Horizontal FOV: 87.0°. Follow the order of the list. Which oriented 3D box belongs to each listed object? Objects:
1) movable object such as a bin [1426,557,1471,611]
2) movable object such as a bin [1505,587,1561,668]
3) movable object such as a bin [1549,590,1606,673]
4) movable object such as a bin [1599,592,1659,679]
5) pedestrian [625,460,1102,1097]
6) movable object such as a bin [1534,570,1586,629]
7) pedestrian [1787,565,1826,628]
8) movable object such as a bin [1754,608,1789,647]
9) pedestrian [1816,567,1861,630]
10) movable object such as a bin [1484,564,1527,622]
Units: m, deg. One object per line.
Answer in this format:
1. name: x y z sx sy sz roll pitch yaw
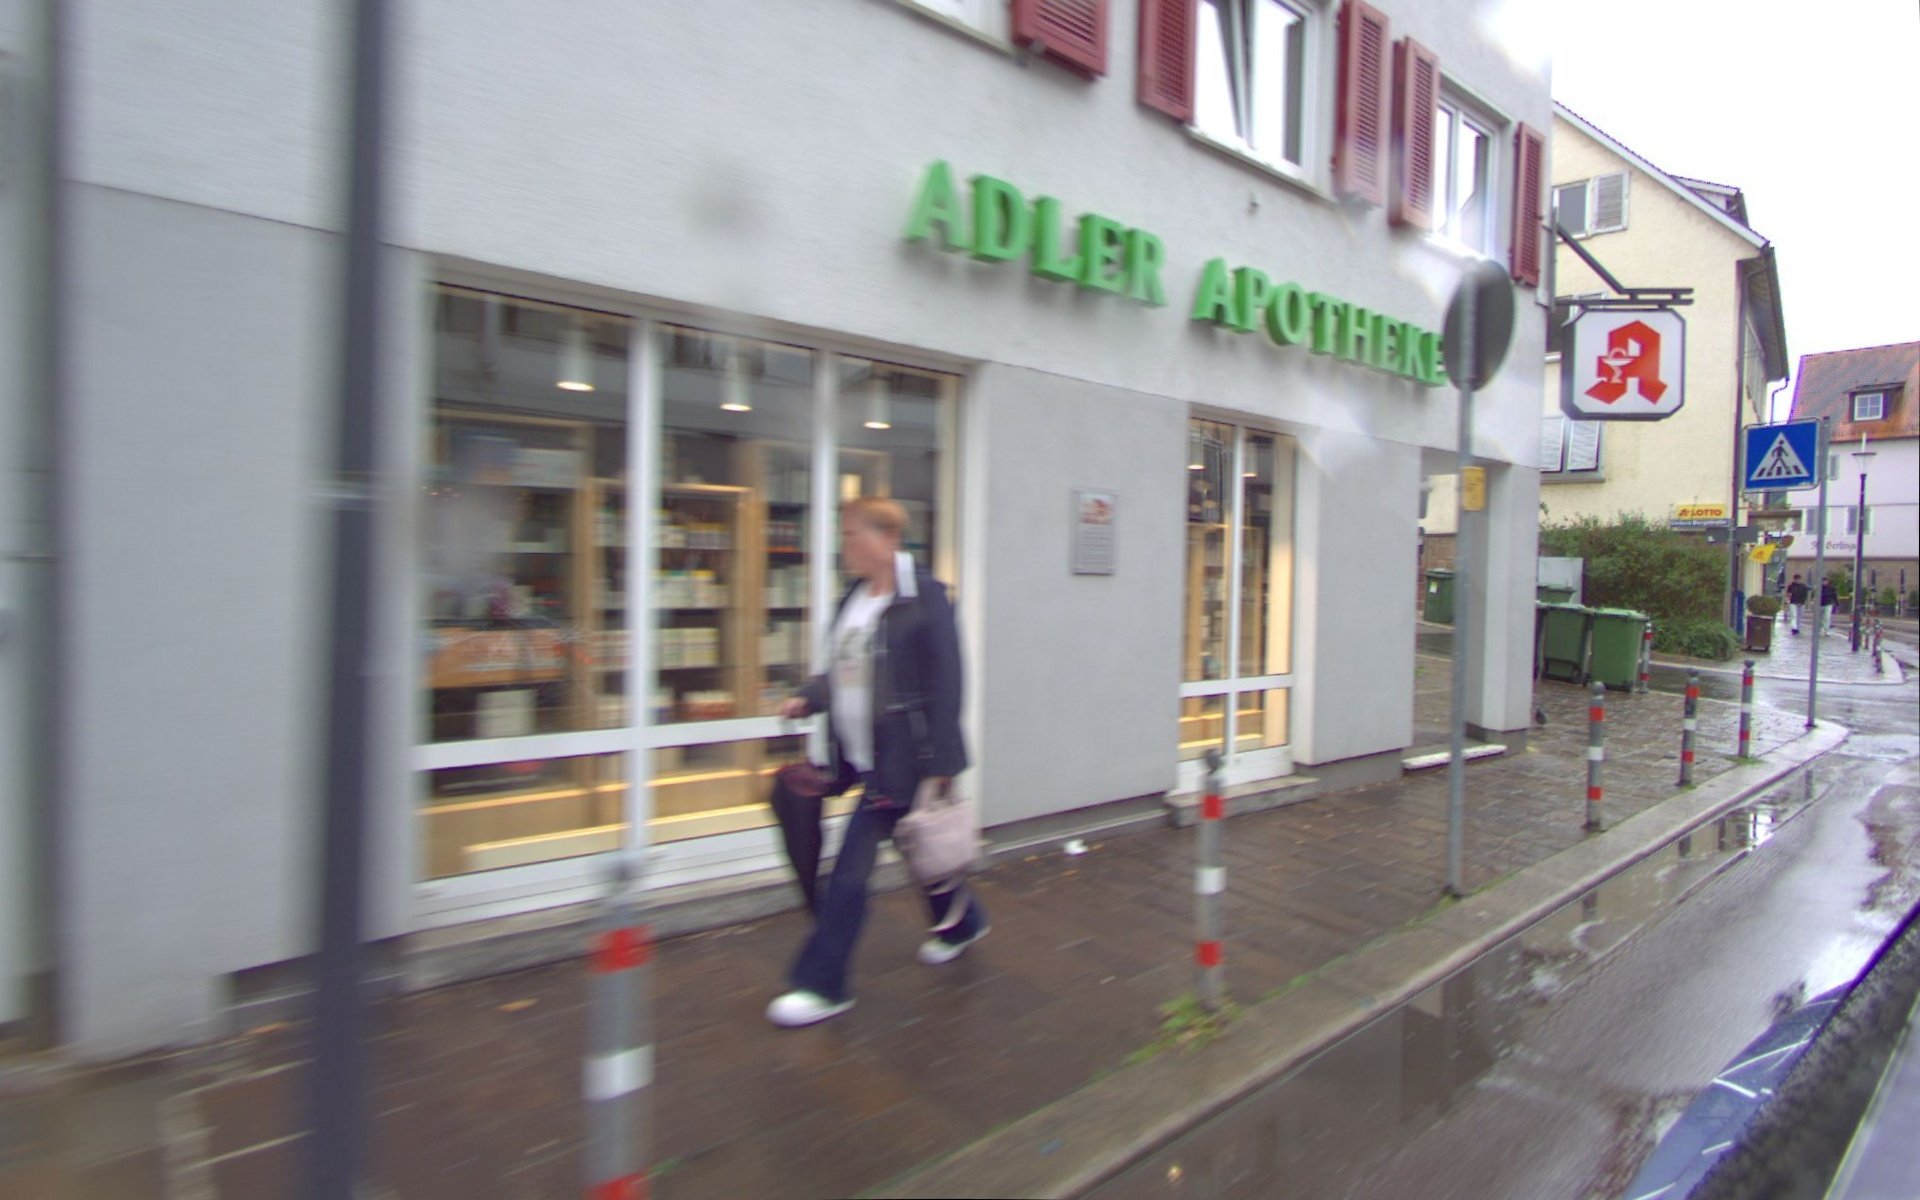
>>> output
1. movable object such as a bin: 10.144 -0.344 21.020 0.612 1.069 0.516 -1 4 -24
2. movable object such as a bin: 8.124 0.381 14.345 0.539 1.069 0.501 -3 5 -42
3. movable object such as a bin: 8.493 0.422 13.920 0.539 1.069 0.501 -3 5 -42
4. movable object such as a bin: 8.906 0.457 13.477 0.539 1.069 0.501 -3 5 -42
5. pedestrian: -0.349 0.441 3.533 1.158 1.718 1.179 -1 4 -44
6. movable object such as a bin: 11.296 -0.016 19.066 0.612 1.069 0.516 0 4 -12
7. pedestrian: 27.083 -0.122 32.384 0.648 1.925 0.654 3 4 22
8. movable object such as a bin: 19.451 0.644 24.248 0.546 0.846 0.896 5 4 42
9. pedestrian: 27.690 -0.067 31.904 0.765 1.927 0.800 2 3 22
10. movable object such as a bin: 10.712 -0.149 19.858 0.614 1.069 0.515 -3 5 -40
